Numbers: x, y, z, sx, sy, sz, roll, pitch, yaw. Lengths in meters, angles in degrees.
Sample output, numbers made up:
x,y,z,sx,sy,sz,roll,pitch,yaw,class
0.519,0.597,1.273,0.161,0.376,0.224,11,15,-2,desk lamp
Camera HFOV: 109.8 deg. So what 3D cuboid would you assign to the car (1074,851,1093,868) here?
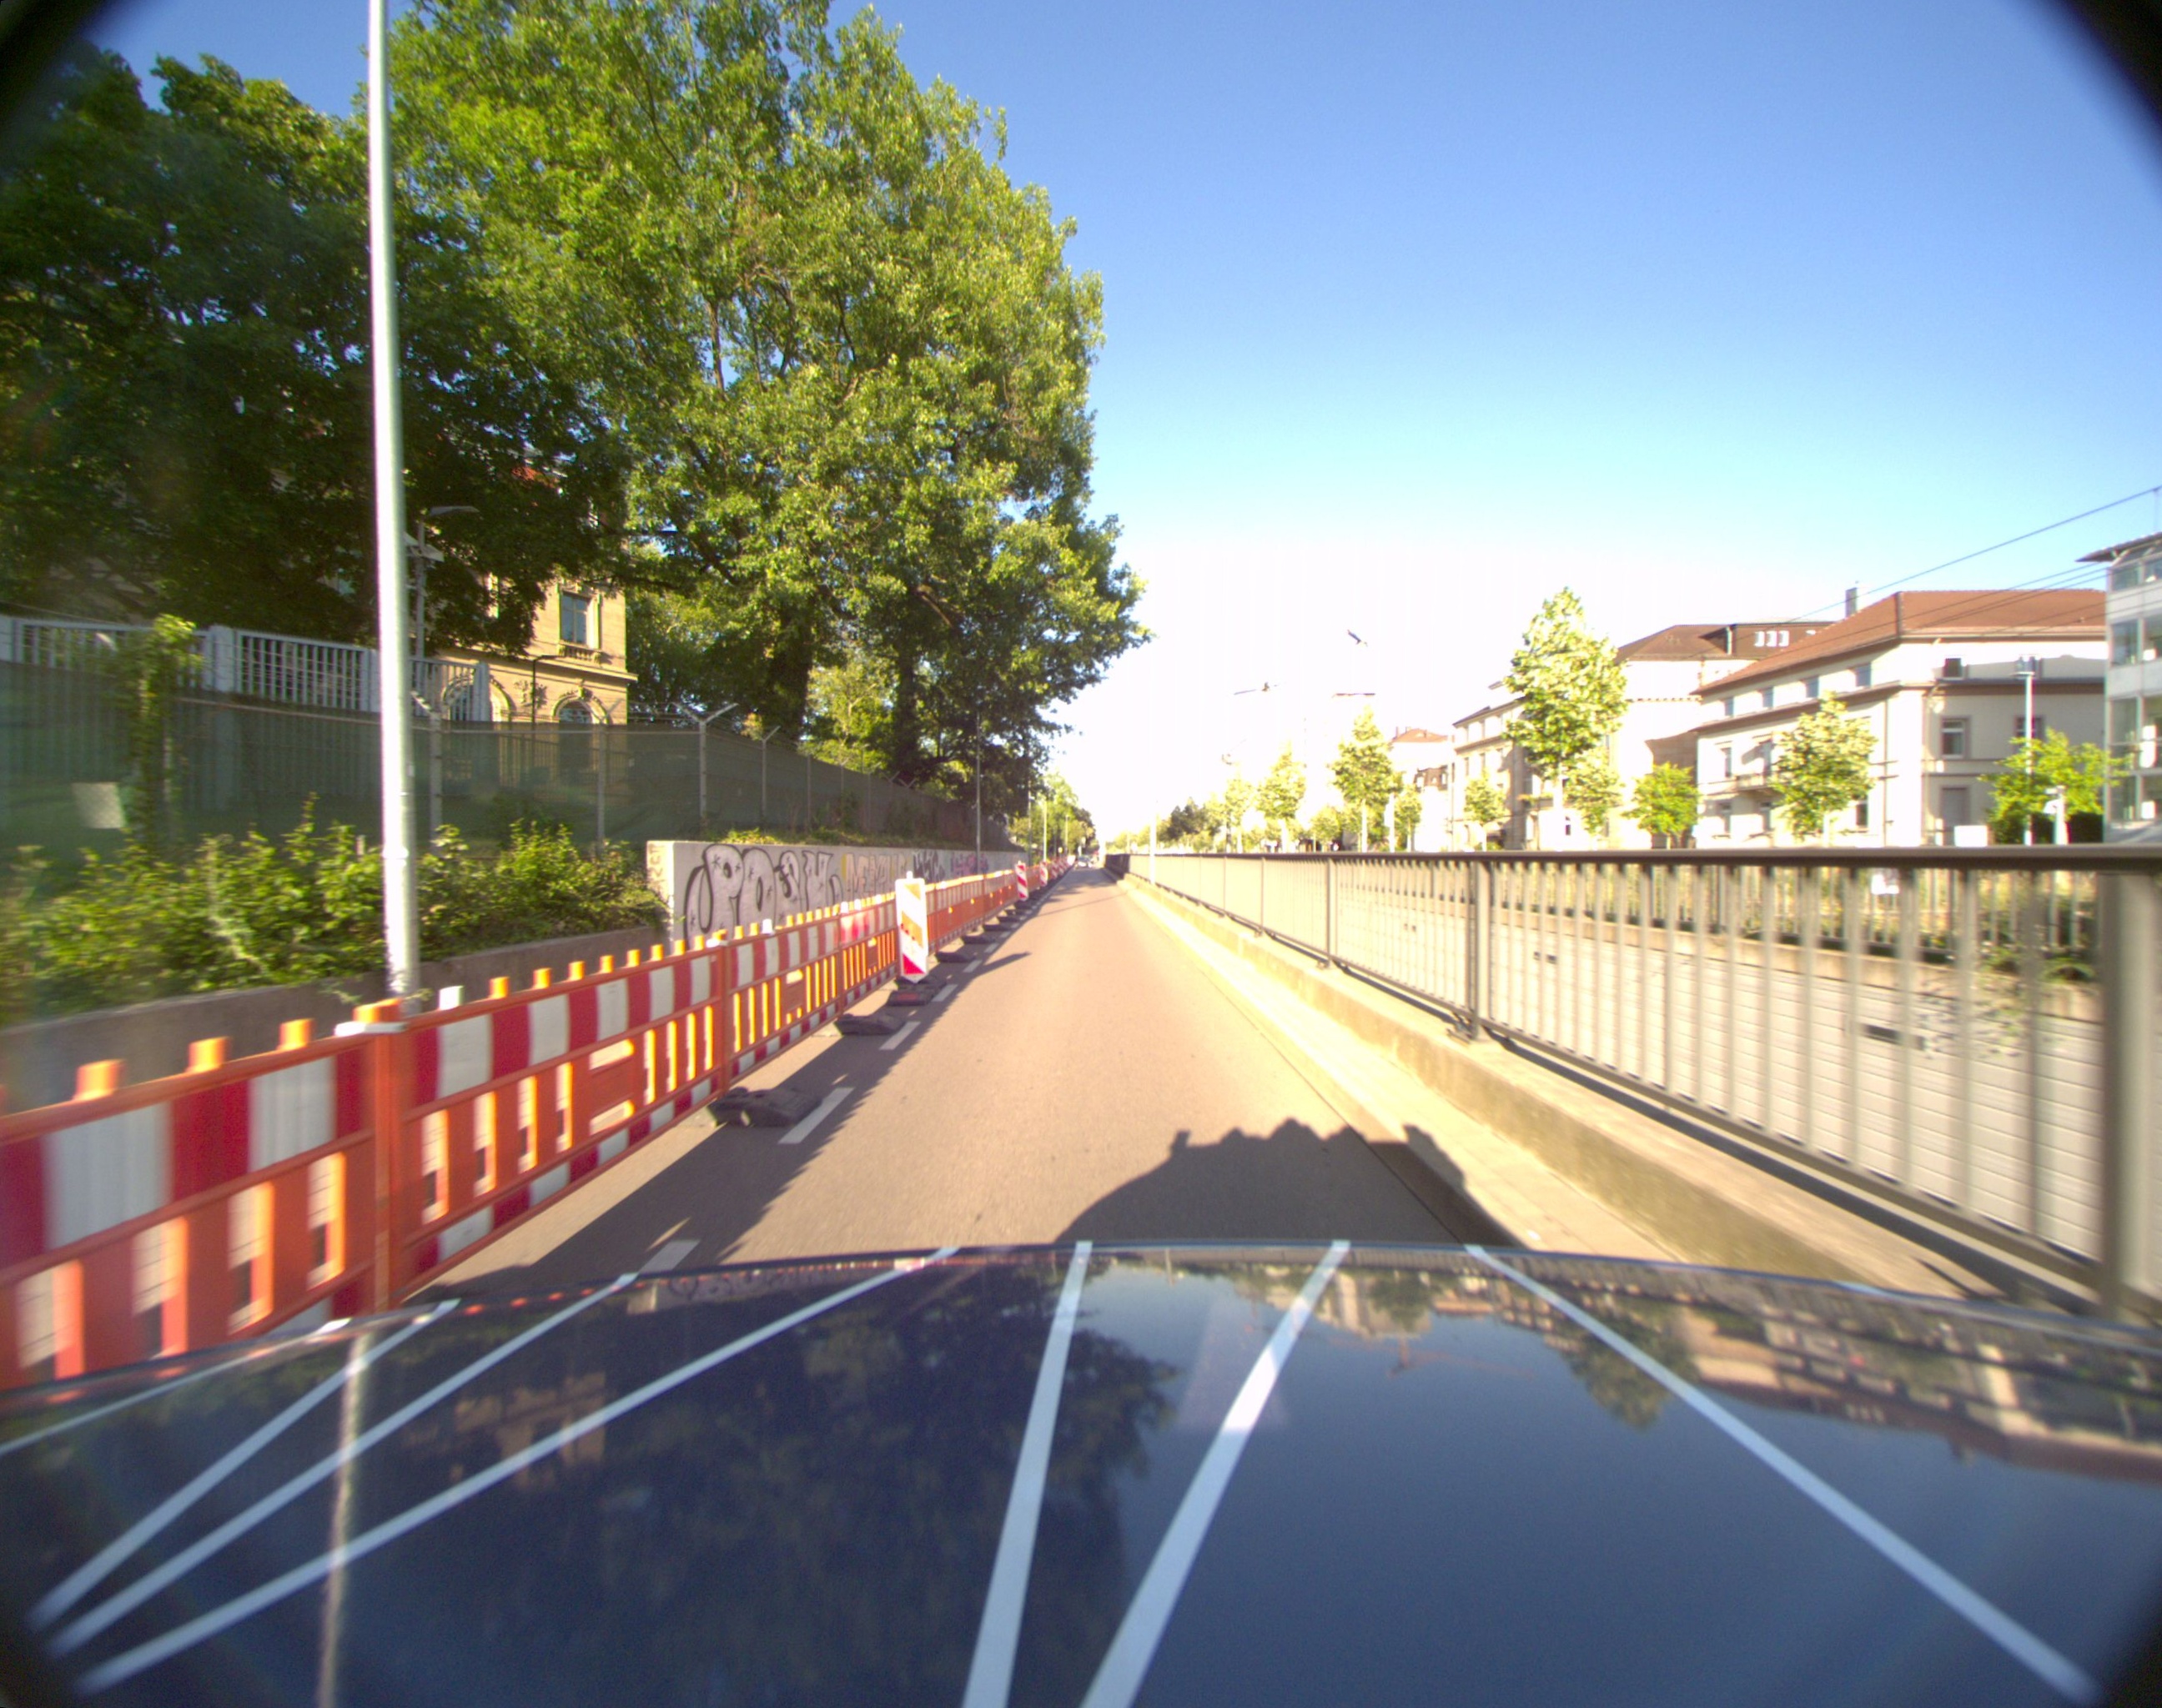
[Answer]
x,y,z,sx,sy,sz,roll,pitch,yaw,class
0.359,0.610,85.955,2.080,1.827,4.000,0,1,1,car
